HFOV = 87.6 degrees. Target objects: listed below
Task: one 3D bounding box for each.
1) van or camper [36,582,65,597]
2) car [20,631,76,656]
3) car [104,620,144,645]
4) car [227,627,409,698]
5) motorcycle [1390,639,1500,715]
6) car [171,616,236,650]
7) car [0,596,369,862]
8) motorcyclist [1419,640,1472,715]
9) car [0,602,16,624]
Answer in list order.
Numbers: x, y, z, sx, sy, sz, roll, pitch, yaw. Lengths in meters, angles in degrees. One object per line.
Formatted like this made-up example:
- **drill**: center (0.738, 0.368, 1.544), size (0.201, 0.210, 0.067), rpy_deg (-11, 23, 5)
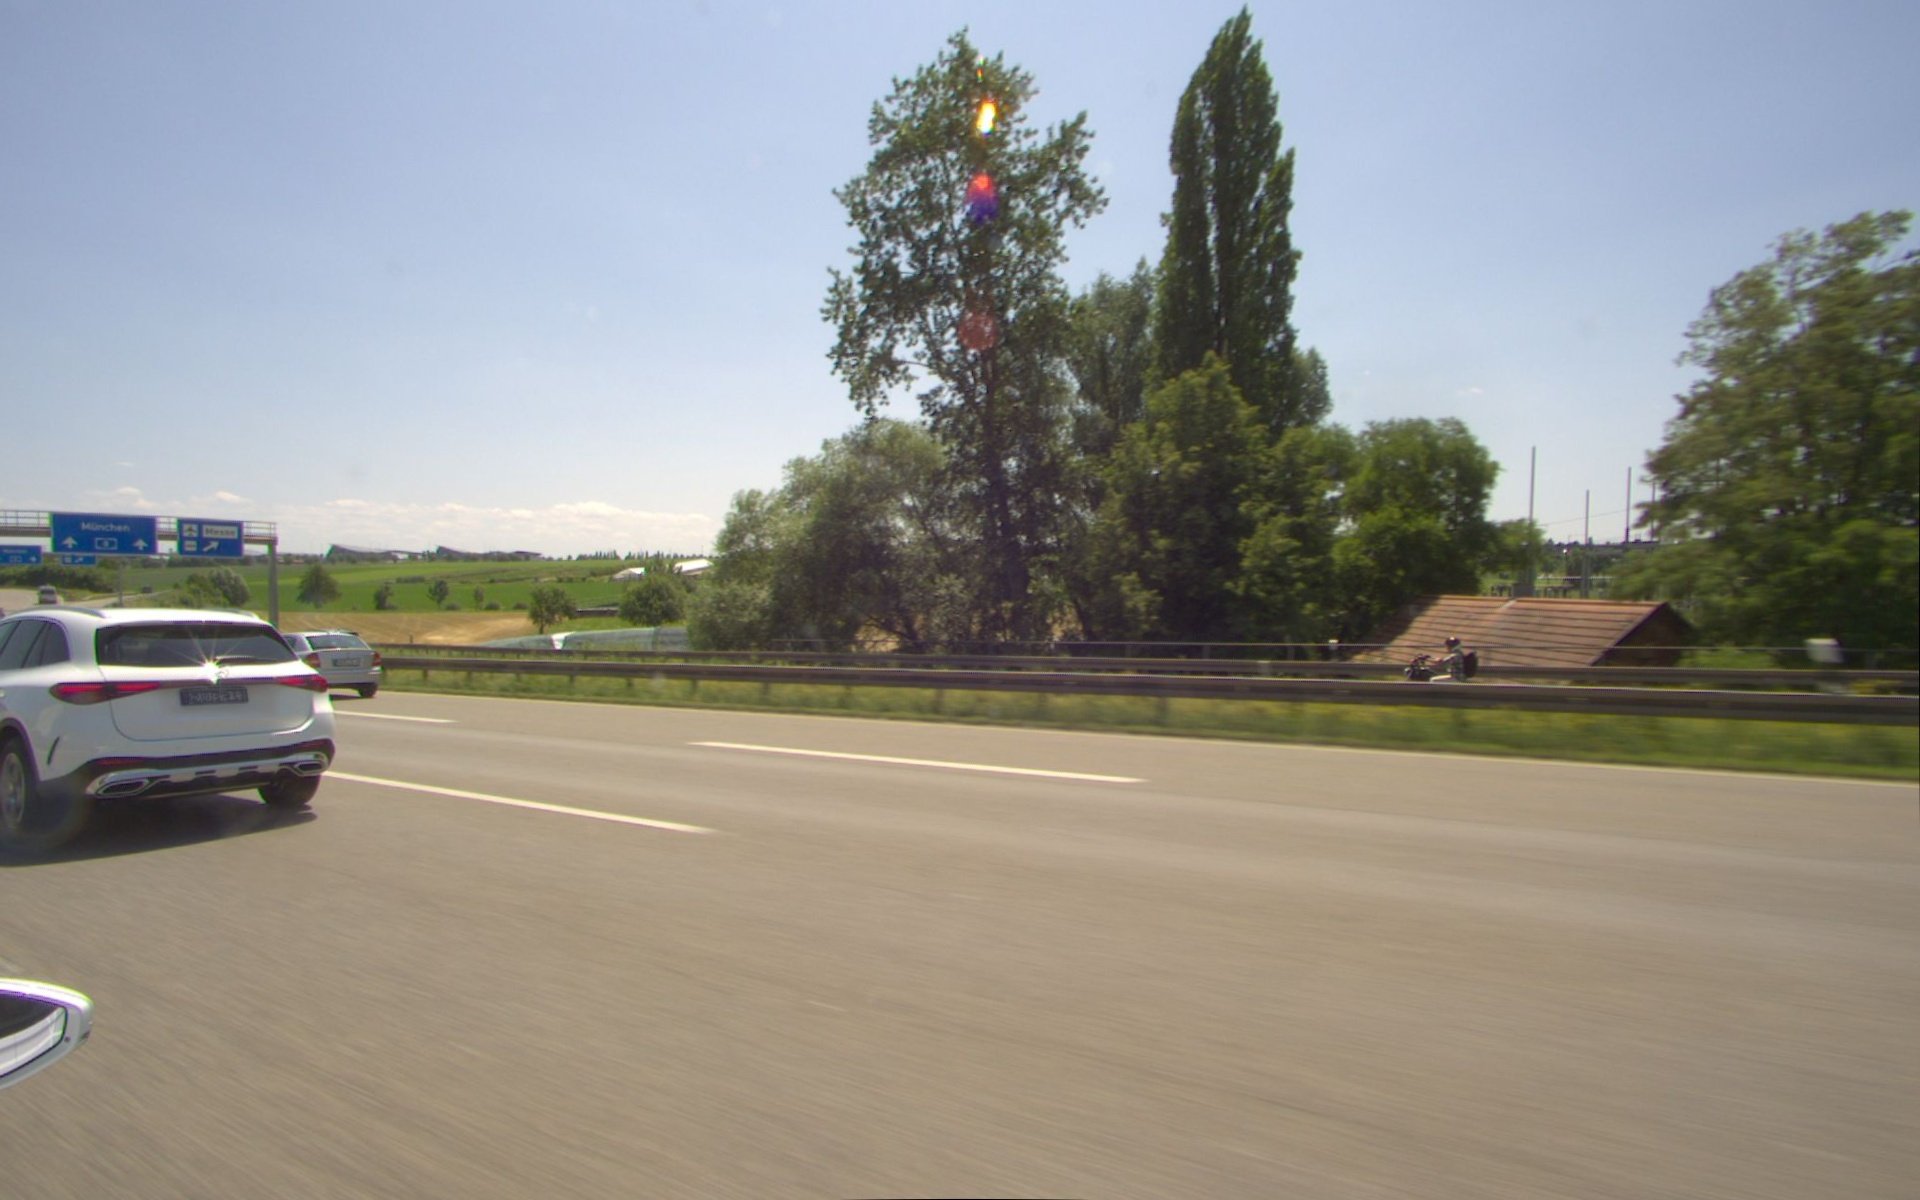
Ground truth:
- **van or camper**: center (-136.615, -1.520, 150.368), size (4.405, 2.039, 2.520), rpy_deg (-1, -2, 38)
- **car**: center (-62.248, 2.936, 68.326), size (3.945, 1.616, 1.989), rpy_deg (-1, -1, 34)
- **car**: center (-67.444, 2.615, 80.802), size (4.133, 1.948, 1.929), rpy_deg (-1, -2, 42)
- **car**: center (-14.659, 1.358, 22.769), size (4.781, 1.456, 1.781), rpy_deg (-1, -1, 34)
- **motorcycle**: center (9.257, 1.436, 19.127), size (1.841, 1.384, 0.759), rpy_deg (-1, -1, 30)
- **car**: center (-45.735, 1.987, 60.539), size (4.123, 1.948, 1.934), rpy_deg (-1, -1, 35)
- **car**: center (-7.244, 0.868, 8.382), size (4.926, 1.668, 1.895), rpy_deg (-1, -1, 32)
- **motorcyclist**: center (9.276, 1.467, 19.118), size (0.865, 1.384, 0.667), rpy_deg (-1, -1, 30)
- **car**: center (-91.175, 1.206, 94.864), size (3.950, 2.039, 1.986), rpy_deg (-1, -1, 38)
